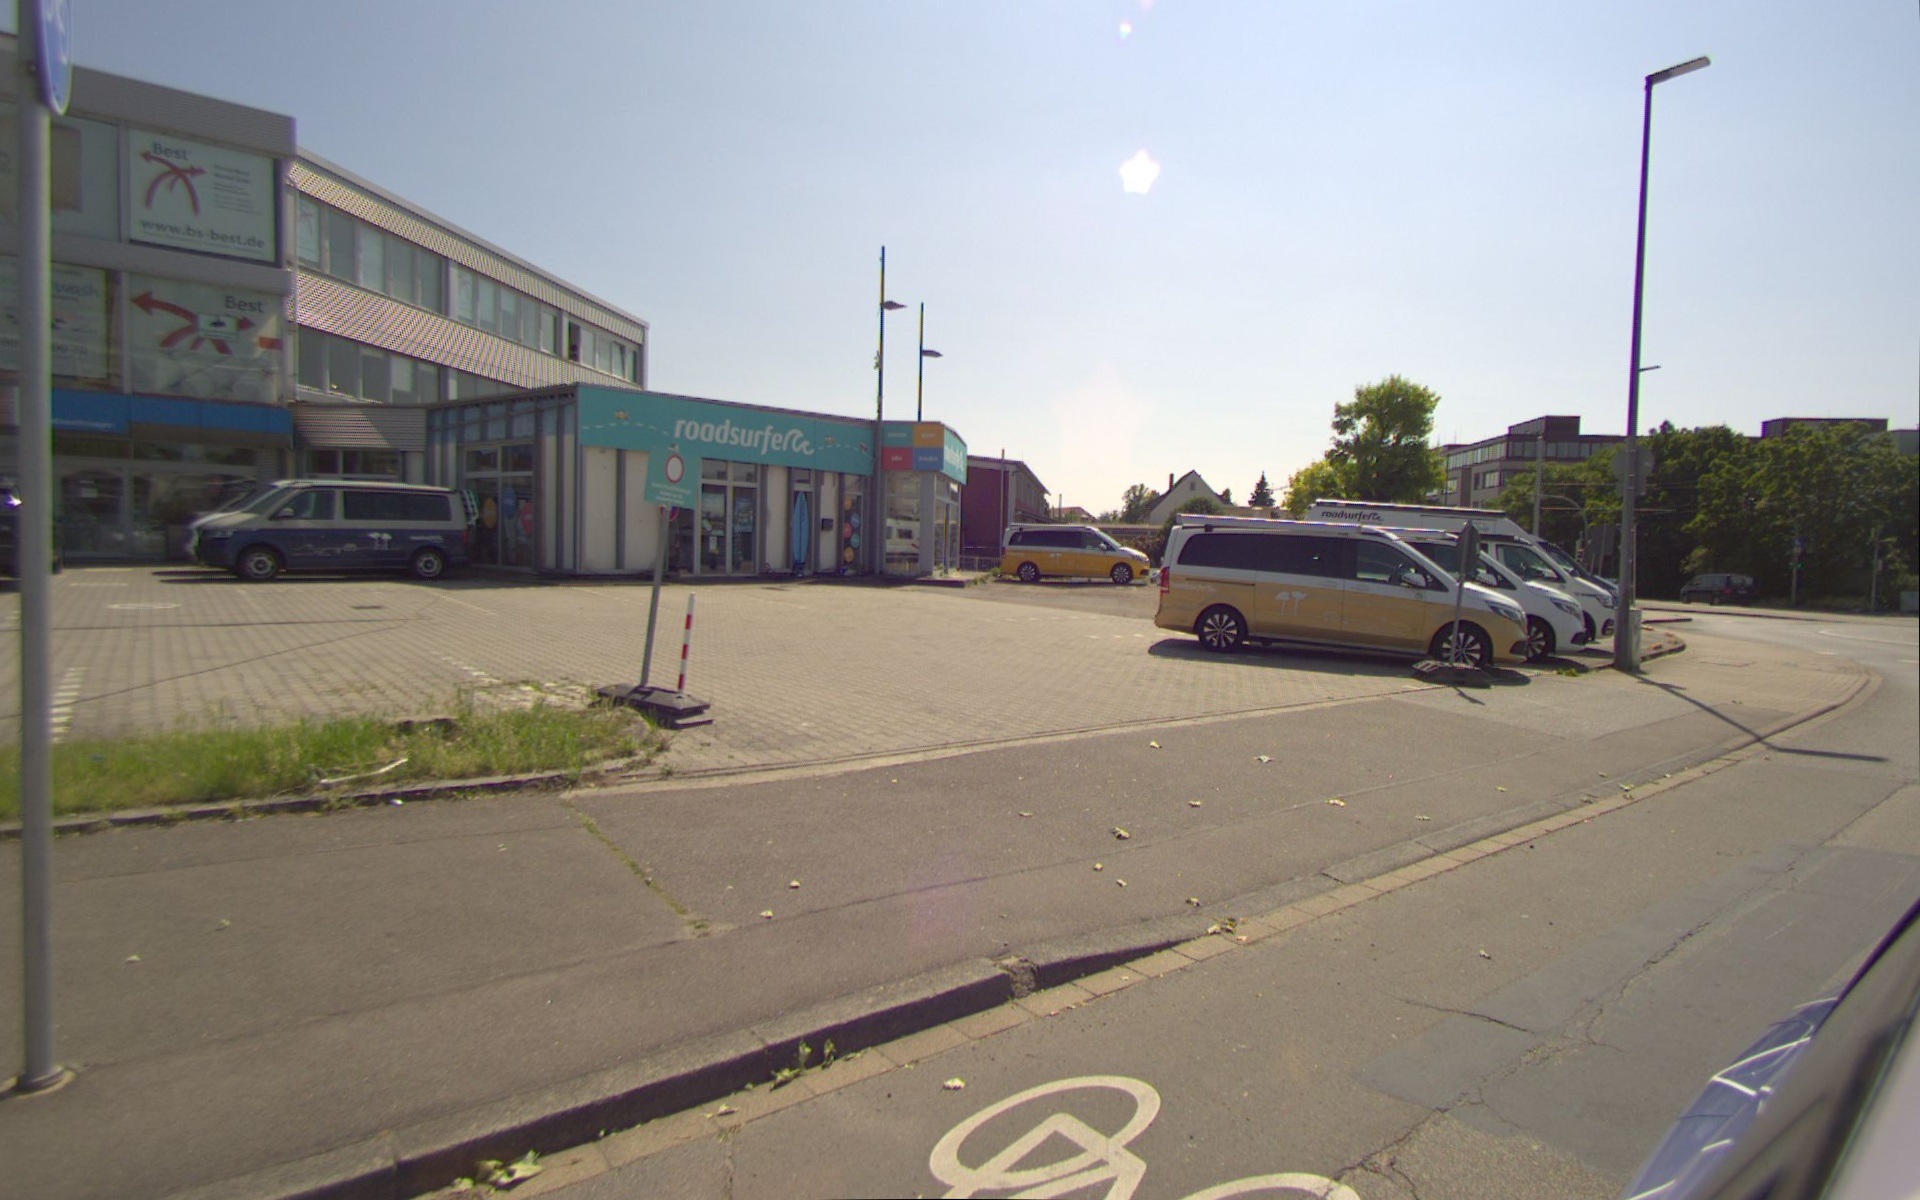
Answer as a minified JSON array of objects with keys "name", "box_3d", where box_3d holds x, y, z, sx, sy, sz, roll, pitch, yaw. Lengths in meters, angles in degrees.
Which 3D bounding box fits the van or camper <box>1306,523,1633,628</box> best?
[{"name":"van or camper","box_3d":[12.258,-0.680,25.111,6.758,2.160,2.771,3,3,18]}]

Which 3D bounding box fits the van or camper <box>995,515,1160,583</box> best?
[{"name":"van or camper","box_3d":[4.074,-1.760,34.698,5.340,2.064,2.284,3,3,14]}]

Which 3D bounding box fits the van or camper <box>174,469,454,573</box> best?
[{"name":"van or camper","box_3d":[-14.478,-1.691,22.887,5.032,2.038,2.119,-1,4,-45]}]

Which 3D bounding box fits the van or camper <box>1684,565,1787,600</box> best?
[{"name":"van or camper","box_3d":[47.318,-1.120,61.945,2.460,1.850,5.292,2,3,5]}]

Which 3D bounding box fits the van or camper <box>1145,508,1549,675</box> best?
[{"name":"van or camper","box_3d":[5.465,-0.246,14.821,5.076,1.984,1.974,4,4,21]}]

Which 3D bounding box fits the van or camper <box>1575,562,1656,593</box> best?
[{"name":"van or camper","box_3d":[48.105,-1.696,74.462,2.456,2.038,5.239,2,3,0]}]

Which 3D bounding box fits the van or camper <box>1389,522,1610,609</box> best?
[{"name":"van or camper","box_3d":[20.348,-1.342,38.555,6.732,2.919,2.782,2,2,7]}]

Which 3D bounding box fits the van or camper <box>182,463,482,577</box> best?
[{"name":"van or camper","box_3d":[-12.836,-1.557,20.930,1.995,2.038,4.942,4,4,44]}]

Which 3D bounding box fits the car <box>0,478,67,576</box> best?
[{"name":"car","box_3d":[-18.741,-1.455,19.731,1.966,1.754,4.113,0,4,-42]}]

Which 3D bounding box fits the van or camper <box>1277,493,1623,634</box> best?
[{"name":"van or camper","box_3d":[10.319,-0.856,22.050,6.275,2.668,2.522,3,3,16]}]

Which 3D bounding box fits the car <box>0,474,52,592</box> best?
[{"name":"car","box_3d":[-15.699,-1.108,16.012,1.966,1.698,4.546,0,4,-42]}]

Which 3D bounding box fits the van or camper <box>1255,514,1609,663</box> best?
[{"name":"van or camper","box_3d":[7.589,-0.291,16.813,4.924,2.069,2.028,4,4,21]}]

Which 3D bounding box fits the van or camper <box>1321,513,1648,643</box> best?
[{"name":"van or camper","box_3d":[9.624,-0.484,19.199,5.075,2.101,2.437,3,3,20]}]

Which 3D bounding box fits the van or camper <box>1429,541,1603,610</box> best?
[{"name":"van or camper","box_3d":[24.148,-1.111,44.256,5.966,2.676,2.777,3,3,12]}]
